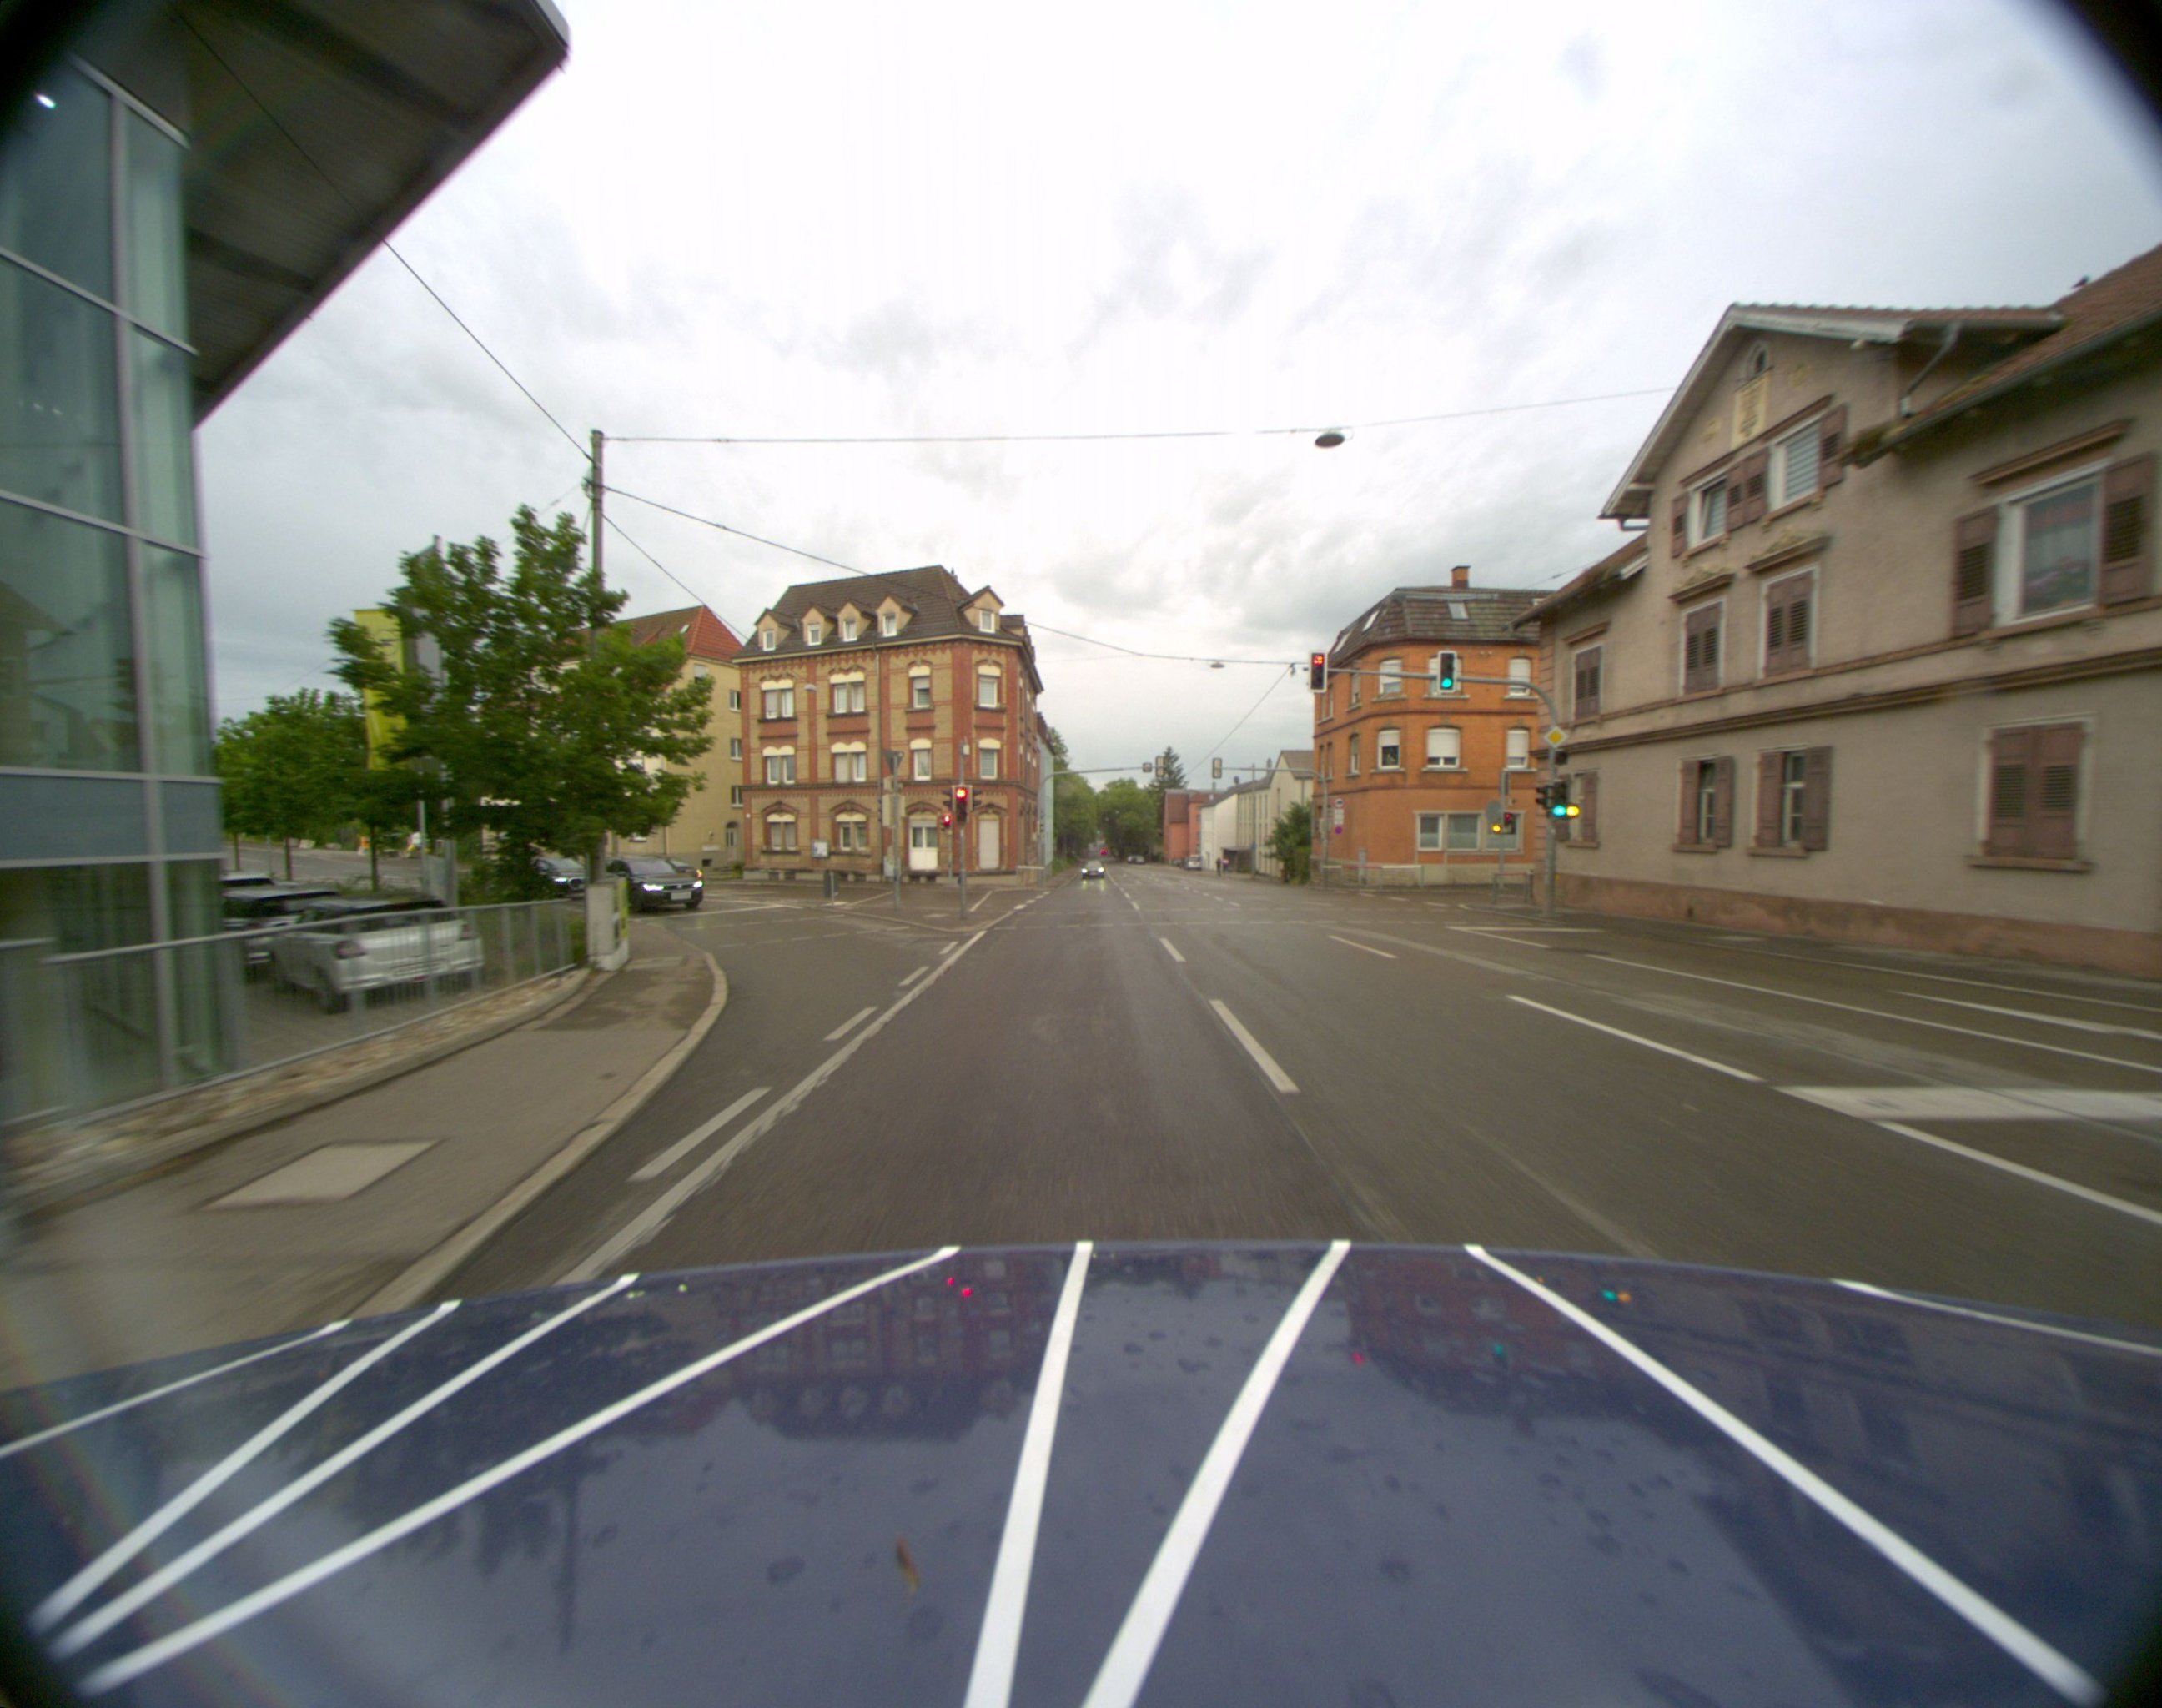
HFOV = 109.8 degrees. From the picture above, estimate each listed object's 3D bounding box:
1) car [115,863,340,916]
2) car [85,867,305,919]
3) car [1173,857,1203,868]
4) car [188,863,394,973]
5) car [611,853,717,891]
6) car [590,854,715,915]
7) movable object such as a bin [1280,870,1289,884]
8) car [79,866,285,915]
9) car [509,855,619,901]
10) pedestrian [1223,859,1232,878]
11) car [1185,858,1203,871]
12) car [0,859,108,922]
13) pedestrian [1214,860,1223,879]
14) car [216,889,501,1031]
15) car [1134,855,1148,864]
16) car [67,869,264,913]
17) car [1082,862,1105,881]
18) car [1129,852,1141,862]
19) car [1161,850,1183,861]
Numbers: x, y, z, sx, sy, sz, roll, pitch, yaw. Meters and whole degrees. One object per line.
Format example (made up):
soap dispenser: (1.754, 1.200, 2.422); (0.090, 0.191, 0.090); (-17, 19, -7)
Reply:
car: (-24.232, 0.930, 21.746); (1.719, 1.265, 4.008); (1, 1, 30)
car: (-26.190, 1.086, 22.620); (1.719, 1.277, 4.008); (1, 1, 30)
car: (16.197, 1.260, 115.130); (4.171, 1.425, 2.000); (-2, 1, 3)
car: (-14.404, 1.035, 13.821); (3.988, 1.522, 1.829); (2, 4, 33)
car: (-17.710, 0.718, 32.253); (3.990, 1.445, 1.847); (1, 0, 23)
car: (-13.541, 0.882, 23.934); (4.242, 1.653, 1.808); (1, 2, 36)
movable object such as a bin: (13.663, 1.553, 51.074); (0.410, 0.919, 0.525); (-1, 2, -5)
car: (-28.656, 1.107, 24.374); (1.719, 1.300, 4.008); (1, 1, 30)
car: (-19.400, 0.846, 28.485); (4.243, 1.496, 1.808); (1, 2, 31)
pedestrian: (13.111, 1.295, 68.104); (0.641, 1.696, 0.911); (-1, 1, 2)
car: (13.781, 1.260, 92.747); (1.749, 1.499, 4.177); (0, 1, 1)
car: (-27.179, 0.913, 18.407); (4.004, 1.445, 1.821); (-2, 2, -23)
pedestrian: (12.320, 1.389, 68.140); (0.641, 1.696, 0.911); (-1, 1, 2)
car: (-11.014, 1.450, 11.570); (3.989, 1.500, 1.900); (1, 5, 29)
car: (9.819, 0.871, 124.610); (1.789, 1.402, 4.197); (2, 1, -2)
car: (-30.840, 1.193, 25.737); (1.719, 1.242, 4.008); (1, 1, 30)
car: (1.008, 1.415, 62.303); (1.842, 1.403, 3.999); (0, 1, 1)
car: (9.597, 0.552, 135.925); (1.816, 1.537, 4.198); (3, 1, 1)
car: (17.018, 0.252, 141.961); (3.994, 2.002, 2.001); (-1, 2, 8)
